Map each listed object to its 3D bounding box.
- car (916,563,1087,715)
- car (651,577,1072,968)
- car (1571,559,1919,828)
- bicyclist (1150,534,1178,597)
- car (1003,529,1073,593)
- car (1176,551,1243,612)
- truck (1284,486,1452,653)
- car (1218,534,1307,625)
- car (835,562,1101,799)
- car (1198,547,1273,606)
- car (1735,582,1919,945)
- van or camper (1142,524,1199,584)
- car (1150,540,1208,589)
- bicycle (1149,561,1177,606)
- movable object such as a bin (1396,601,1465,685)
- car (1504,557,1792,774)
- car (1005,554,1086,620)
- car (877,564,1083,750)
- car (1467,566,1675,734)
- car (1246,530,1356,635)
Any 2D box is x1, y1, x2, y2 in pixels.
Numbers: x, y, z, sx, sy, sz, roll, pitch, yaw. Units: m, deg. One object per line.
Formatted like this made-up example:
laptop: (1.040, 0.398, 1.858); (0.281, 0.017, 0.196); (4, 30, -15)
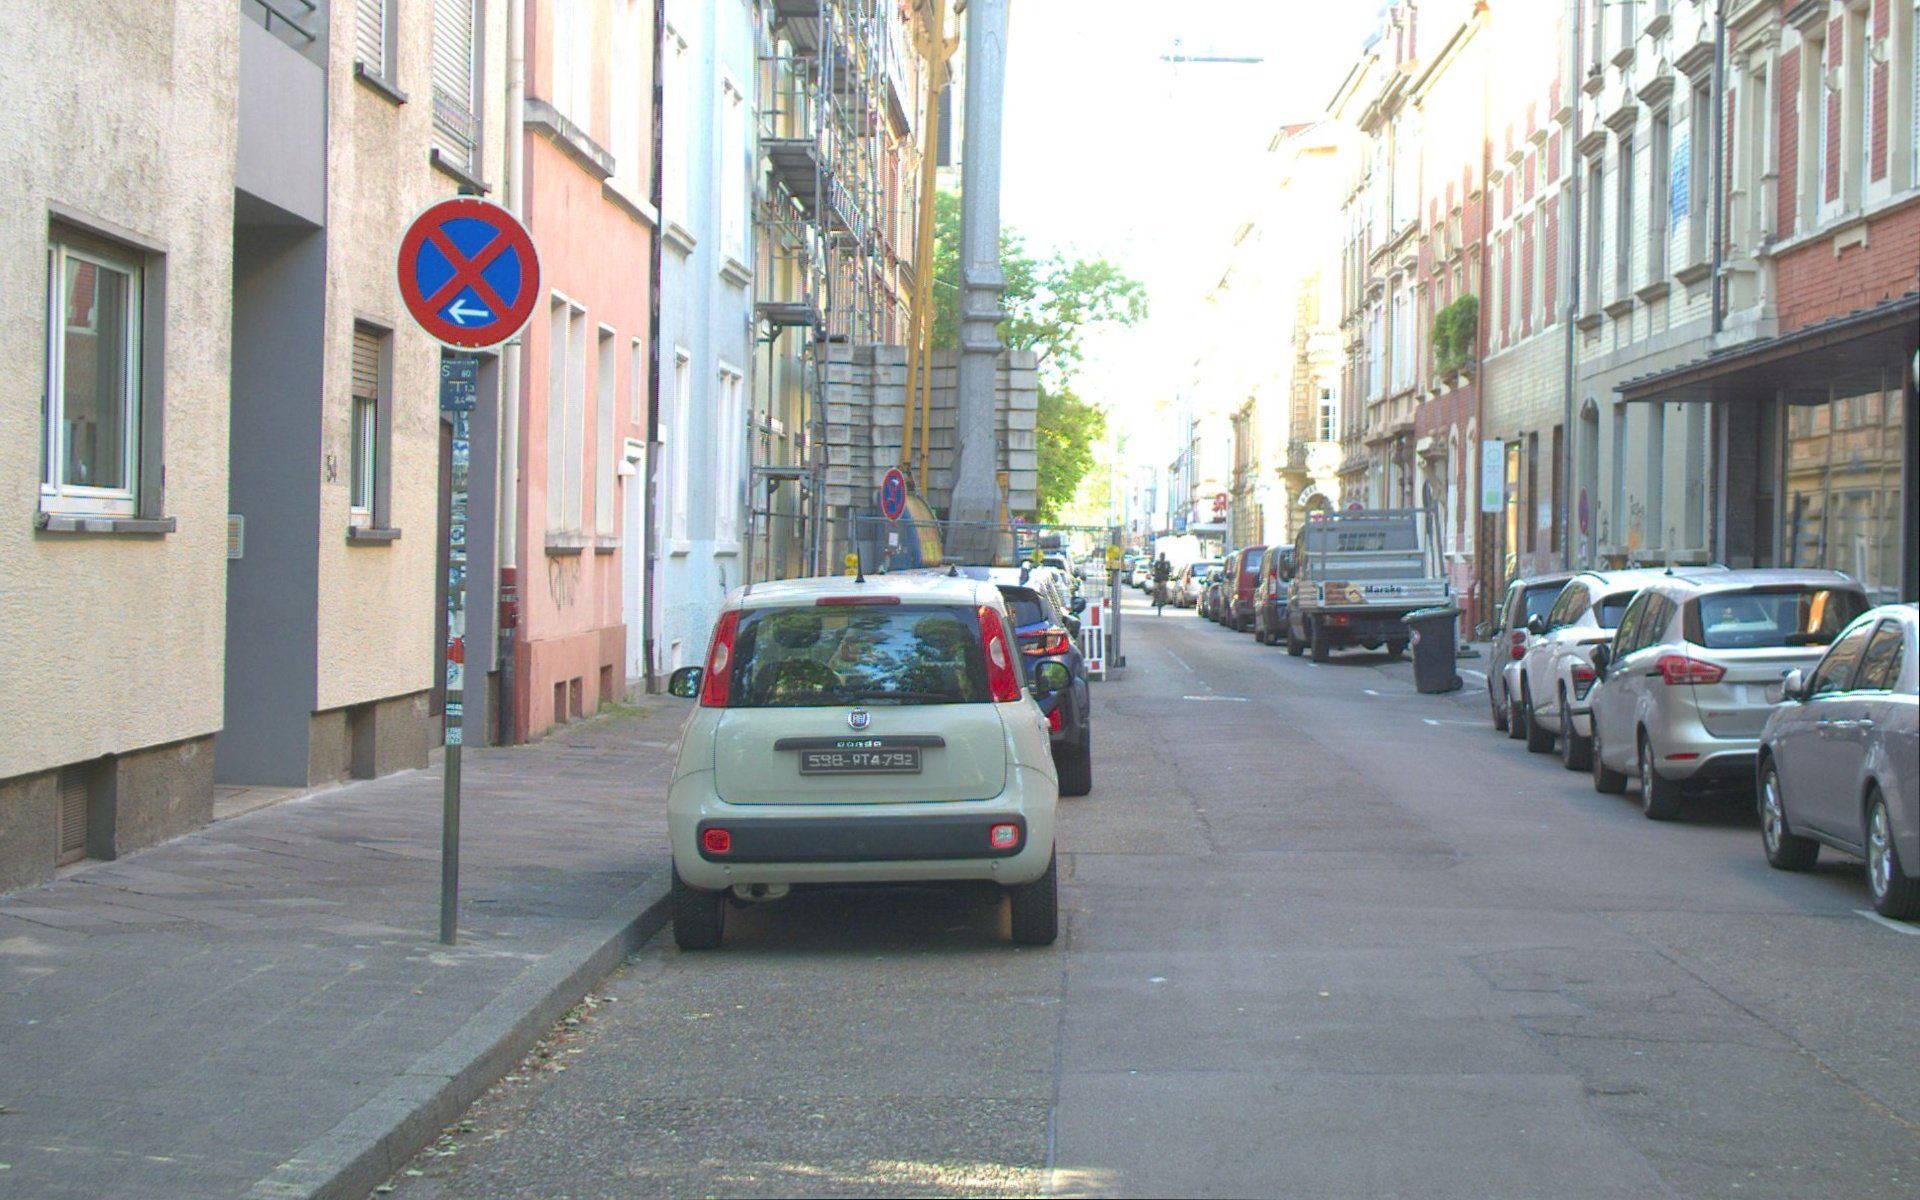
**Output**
car: (0.475, 0.360, 36.067); (1.675, 1.472, 4.608); (0, 1, 2)
car: (-0.404, 0.678, 15.655); (1.675, 1.534, 3.869); (0, 1, 0)
car: (5.242, 0.562, 23.358); (1.640, 1.650, 3.869); (1, 1, 3)
bicyclist: (5.771, -0.977, 97.418); (0.730, 1.755, 0.835); (1, 1, 2)
car: (1.966, -0.993, 87.521); (1.675, 1.566, 3.869); (0, 1, 0)
car: (8.473, -0.652, 117.066); (1.993, 2.007, 4.000); (0, 1, 1)
truck: (6.602, -0.515, 56.171); (2.190, 2.598, 5.234); (0, 1, 1)
car: (6.933, -0.488, 79.172); (1.675, 2.024, 3.869); (0, 1, 0)
car: (0.038, 0.504, 24.733); (1.729, 1.534, 4.378); (-1, 1, 0)
car: (7.398, -0.641, 92.651); (1.675, 1.566, 3.869); (0, 1, 0)
car: (5.135, 0.716, 17.123); (1.721, 1.557, 4.398); (1, 1, 3)
van or camper: (8.910, -1.965, 145.665); (1.993, 2.500, 4.203); (0, 1, -2)
car: (8.318, -1.357, 131.033); (1.993, 1.842, 4.000); (0, 1, 1)
bicycle: (5.748, -0.474, 97.533); (0.724, 1.182, 2.042); (2, 2, 2)
movable object such as a bin: (6.010, 0.544, 43.937); (0.795, 1.052, 0.660); (1, 1, 2)
car: (5.705, 0.485, 28.955); (1.746, 1.670, 4.340); (0, 1, 3)
car: (1.902, -0.305, 77.350); (1.675, 1.440, 3.869); (0, 1, 0)
car: (0.228, 0.443, 30.344); (1.675, 1.506, 4.414); (0, 1, 2)
car: (6.012, 0.448, 34.162); (1.597, 1.555, 3.813); (0, 1, 4)
car: (6.584, -0.352, 66.685); (1.675, 1.956, 4.109); (0, 1, 0)
